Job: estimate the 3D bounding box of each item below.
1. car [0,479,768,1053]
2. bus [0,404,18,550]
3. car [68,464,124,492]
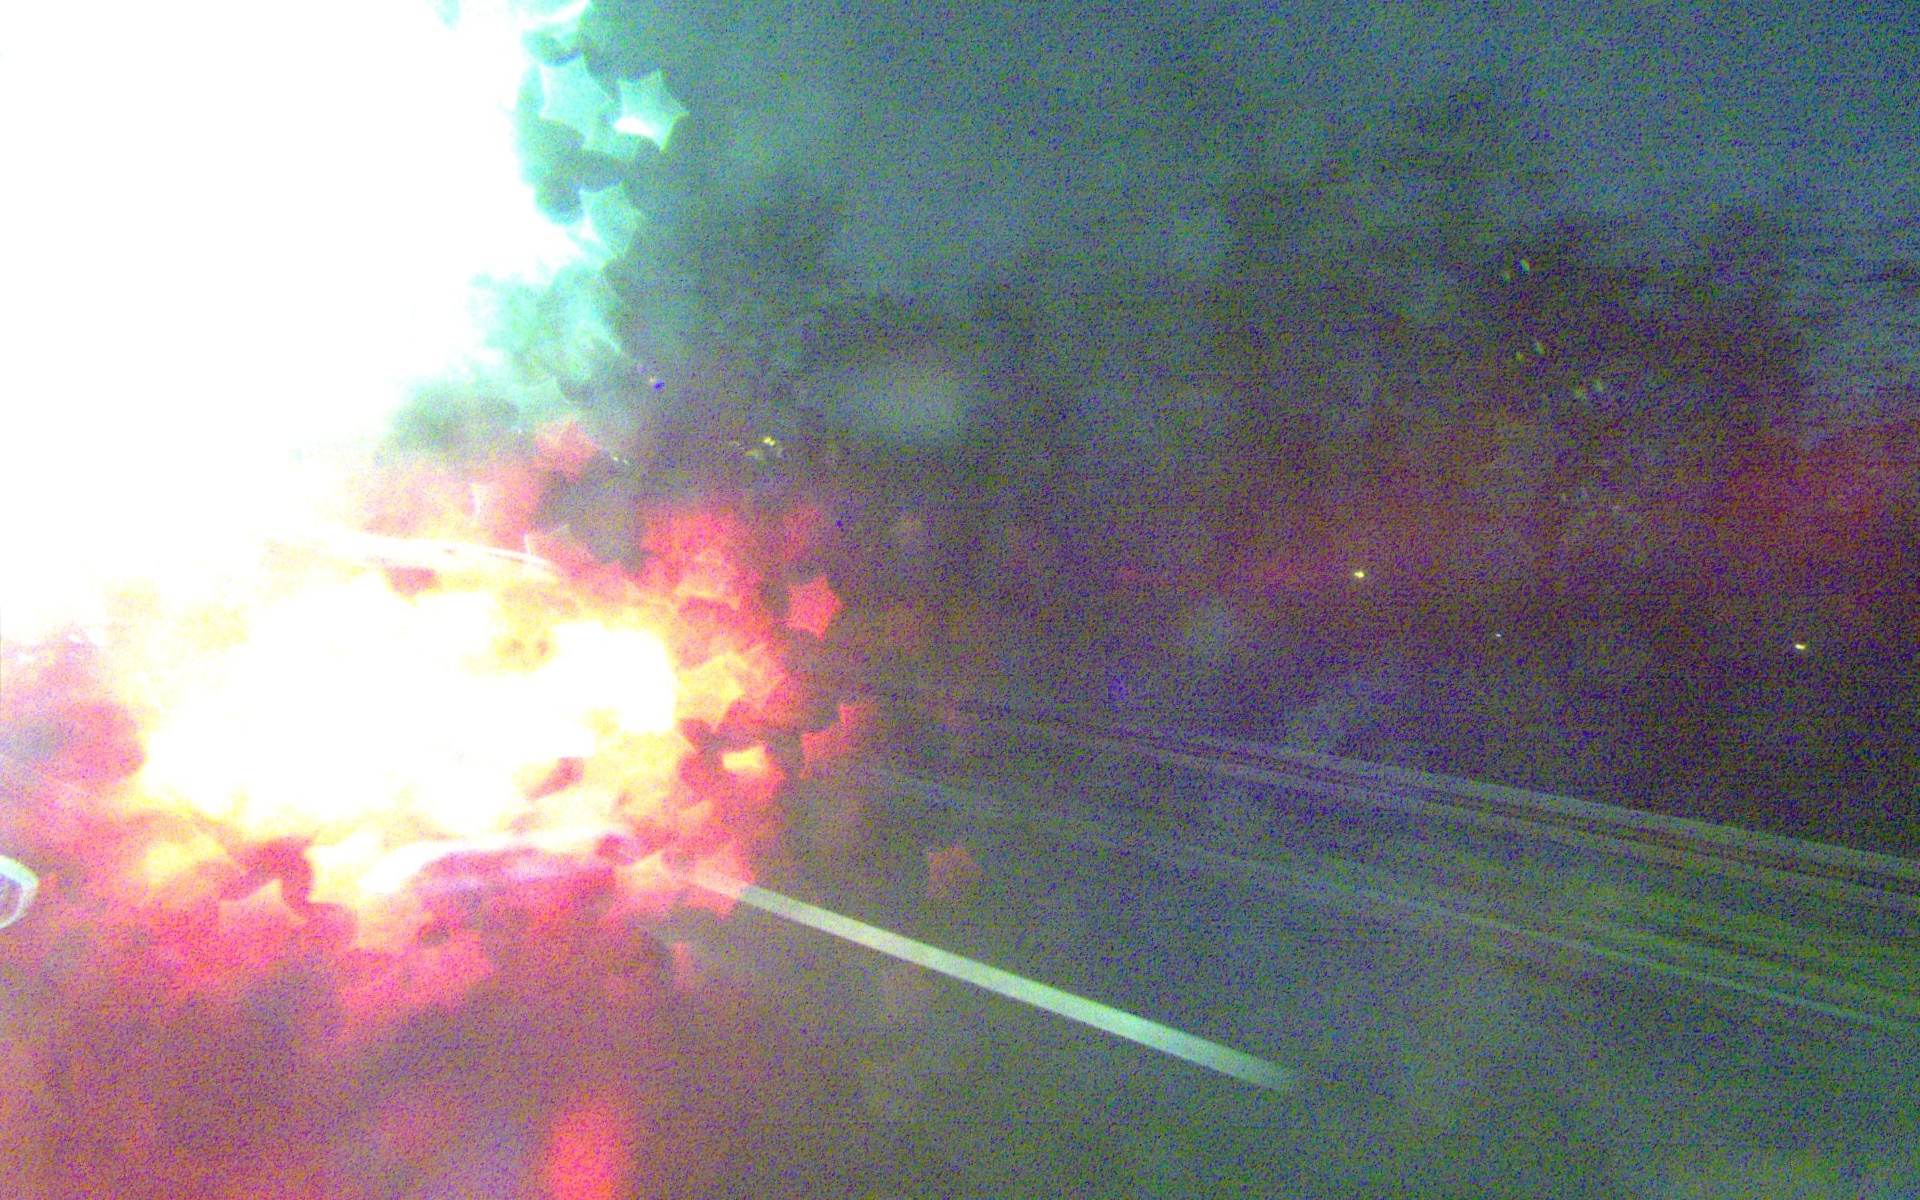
[{"bbox_3d":[-3.133,0.396,4.757,3.933,1.543,1.996,7,0,32],"label":"car"},{"bbox_3d":[-24.689,-3.089,23.387,8.923,3.251,3.040,7,-1,42],"label":"bus"},{"bbox_3d":[-64.295,-9.086,74.967,1.758,1.519,3.979,9,0,-21],"label":"car"}]
